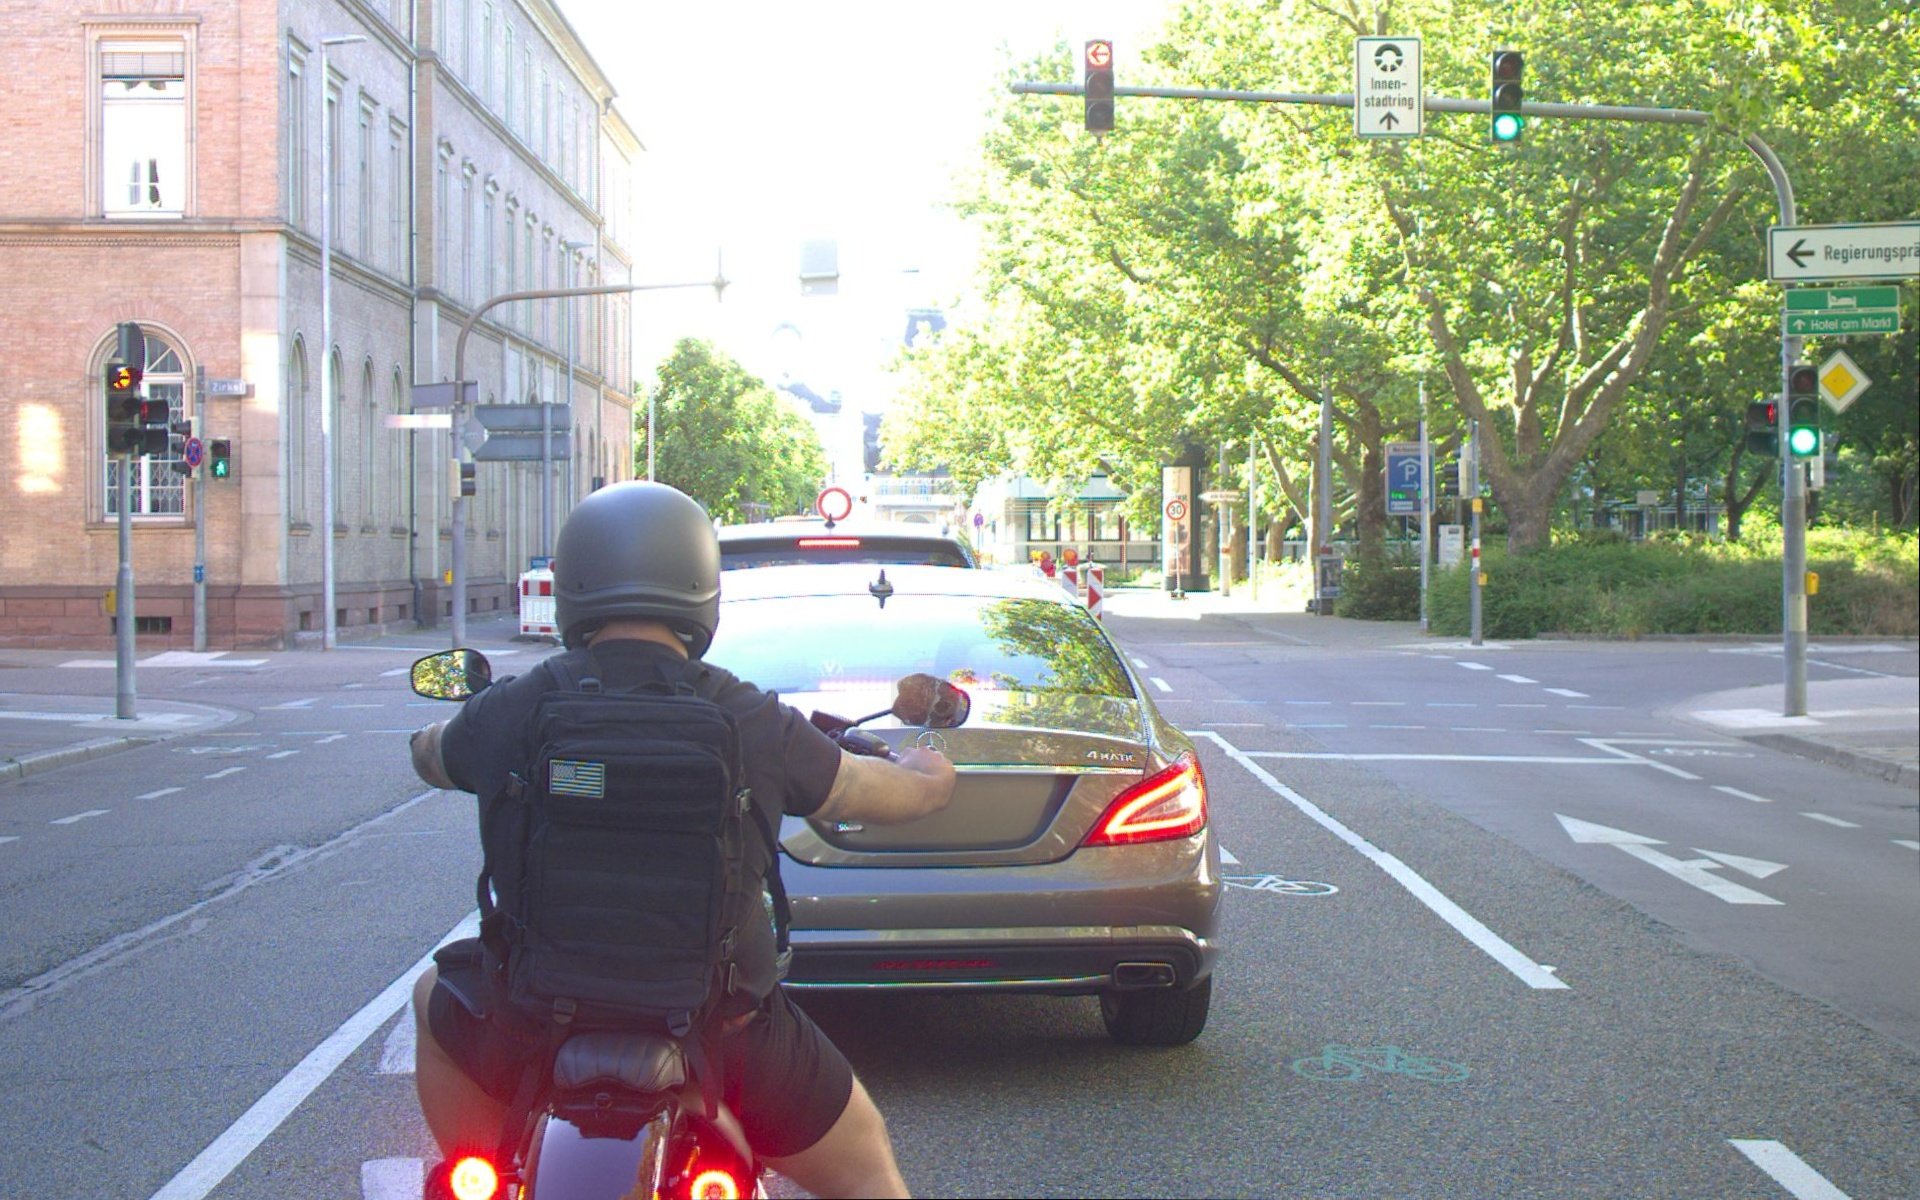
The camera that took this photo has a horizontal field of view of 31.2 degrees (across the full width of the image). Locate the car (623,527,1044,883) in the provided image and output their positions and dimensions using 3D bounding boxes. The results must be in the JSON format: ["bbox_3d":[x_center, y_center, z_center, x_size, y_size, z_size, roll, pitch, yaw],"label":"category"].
[{"bbox_3d":[-0.649,0.416,16.765,1.813,1.530,3.849,0,1,-3],"label":"car"}]

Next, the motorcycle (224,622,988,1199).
[{"bbox_3d":[-0.468,0.737,5.534,0.962,1.352,2.320,1,1,-1],"label":"motorcycle"}]

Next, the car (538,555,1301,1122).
[{"bbox_3d":[-0.349,0.585,11.108,1.901,1.436,4.290,0,1,-8],"label":"car"}]

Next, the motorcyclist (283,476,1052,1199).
[{"bbox_3d":[-0.418,0.618,5.263,1.061,1.577,0.908,1,0,-1],"label":"motorcyclist"}]
